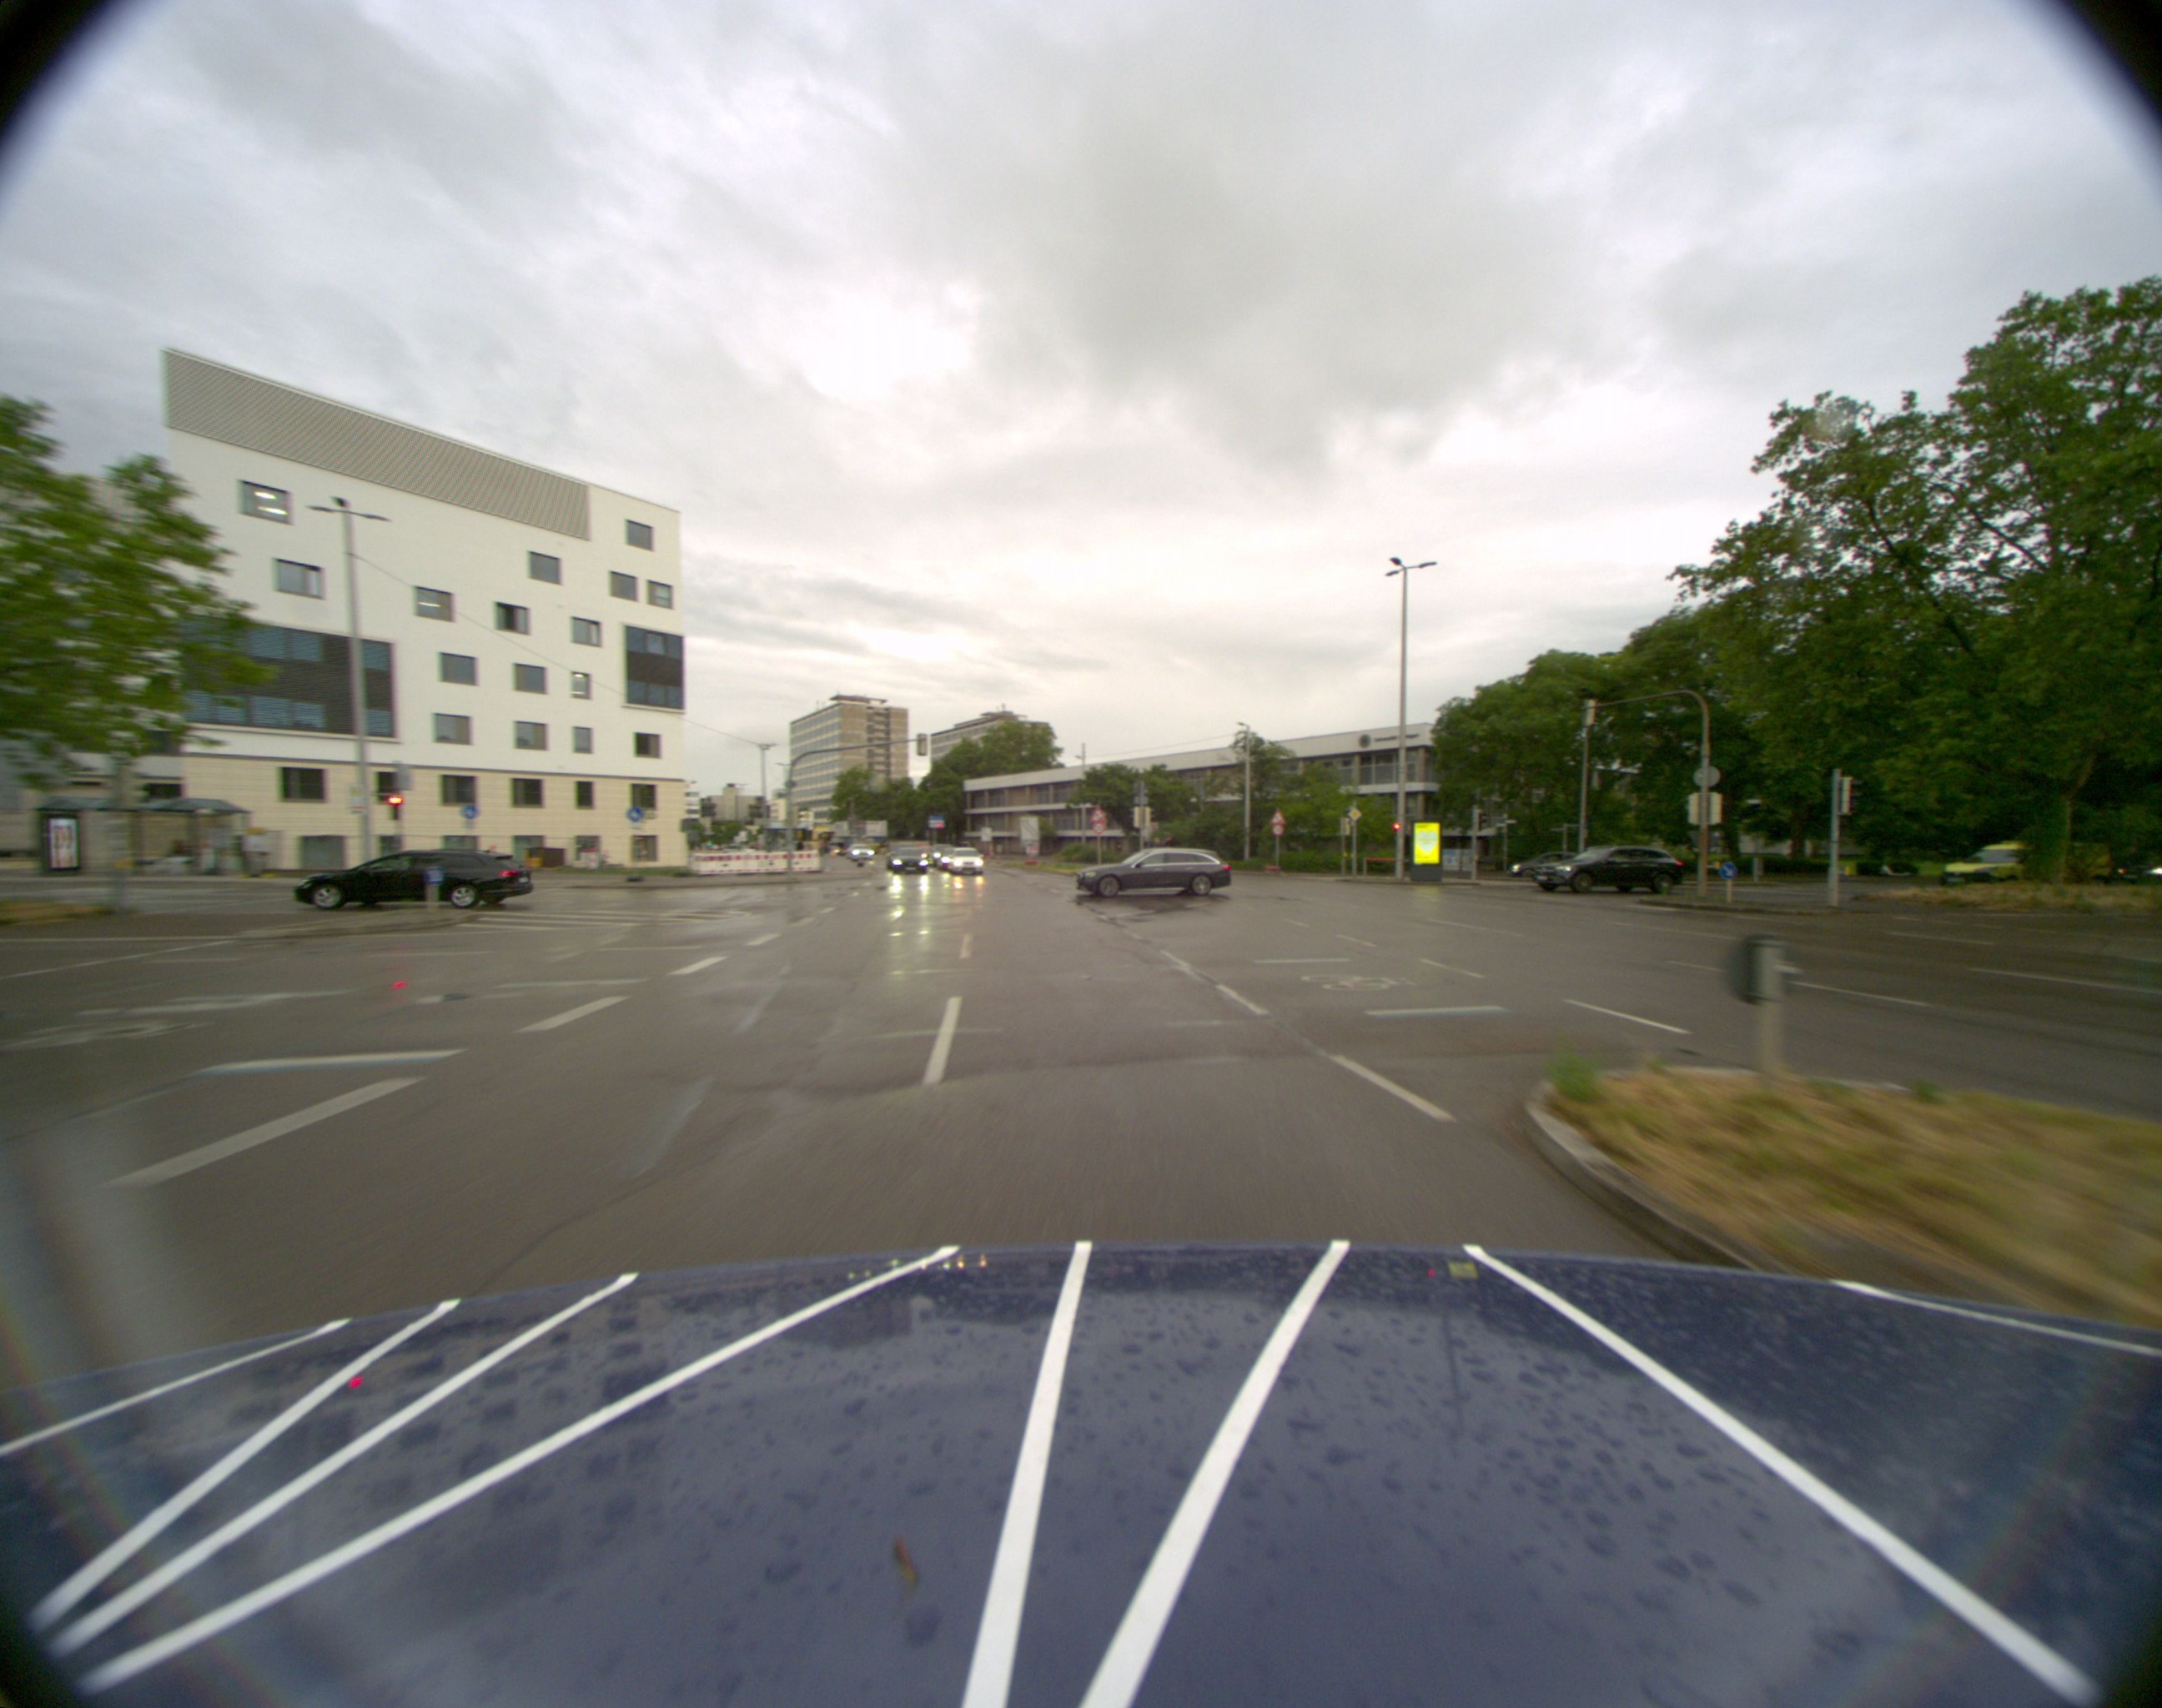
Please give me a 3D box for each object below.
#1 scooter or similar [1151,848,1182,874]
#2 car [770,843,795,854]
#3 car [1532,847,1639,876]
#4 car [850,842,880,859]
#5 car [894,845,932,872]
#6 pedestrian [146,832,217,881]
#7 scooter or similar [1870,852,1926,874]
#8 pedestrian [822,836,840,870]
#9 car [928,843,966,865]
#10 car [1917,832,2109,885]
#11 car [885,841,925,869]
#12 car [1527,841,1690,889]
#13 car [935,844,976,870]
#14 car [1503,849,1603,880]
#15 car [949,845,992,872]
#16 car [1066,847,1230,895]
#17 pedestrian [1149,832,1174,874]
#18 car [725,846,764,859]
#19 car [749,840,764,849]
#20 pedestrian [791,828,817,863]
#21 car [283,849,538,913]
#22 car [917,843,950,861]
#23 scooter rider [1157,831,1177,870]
[{"bbox_3d":[4.140,0.329,36.776,1.315,1.231,0.592,-1,0,-24],"label":"scooter or similar"},{"bbox_3d":[-38.790,-0.769,98.754,2.004,1.370,4.375,-1,1,-36],"label":"car"},{"bbox_3d":[26.586,0.379,40.226,4.394,1.441,1.870,0,1,19],"label":"car"},{"bbox_3d":[-22.275,-0.360,78.198,1.970,1.690,4.149,0,0,-30],"label":"car"},{"bbox_3d":[-9.451,0.281,42.504,1.799,1.435,3.994,0,0,-17],"label":"car"},{"bbox_3d":[-32.512,0.096,27.480,1.016,1.709,1.261,-1,0,-4],"label":"pedestrian"},{"bbox_3d":[43.087,0.468,40.091,1.886,1.095,0.558,1,5,19],"label":"scooter or similar"},{"bbox_3d":[-13.662,-0.056,41.584,0.824,1.829,0.953,-1,0,-13],"label":"pedestrian"},{"bbox_3d":[-9.849,-0.021,55.597,1.969,1.528,4.151,0,0,-22],"label":"car"},{"bbox_3d":[33.839,0.164,27.675,4.738,1.865,1.885,0,0,-1],"label":"car"},{"bbox_3d":[-11.390,0.015,48.955,2.002,1.655,4.379,0,1,-20],"label":"car"},{"bbox_3d":[18.480,0.382,26.722,4.575,1.598,1.834,0,0,-4],"label":"car"},{"bbox_3d":[-8.110,0.157,48.698,1.968,1.548,4.521,0,2,-18],"label":"car"},{"bbox_3d":[23.318,0.495,37.682,3.990,1.441,1.871,0,1,24],"label":"car"},{"bbox_3d":[-6.239,0.261,42.630,1.799,1.435,3.994,0,0,-17],"label":"car"},{"bbox_3d":[2.100,0.499,24.341,4.931,1.437,1.883,0,1,-9],"label":"car"},{"bbox_3d":[3.714,-0.053,35.075,0.830,1.881,1.026,-1,0,-12],"label":"pedestrian"},{"bbox_3d":[-42.292,-0.194,95.609,4.059,1.548,1.967,0,0,4],"label":"car"},{"bbox_3d":[-68.102,-2.038,159.605,1.801,1.696,4.675,0,1,-37],"label":"car"},{"bbox_3d":[-15.690,-0.475,43.064,0.953,1.924,1.006,-1,0,7],"label":"pedestrian"},{"bbox_3d":[-16.630,0.634,19.144,4.517,1.457,1.672,0,1,-20],"label":"car"},{"bbox_3d":[-12.104,-0.163,62.133,1.969,1.441,4.151,0,0,-22],"label":"car"},{"bbox_3d":[4.174,-0.177,36.783,0.632,1.872,0.724,-1,0,-22],"label":"scooter rider"}]
